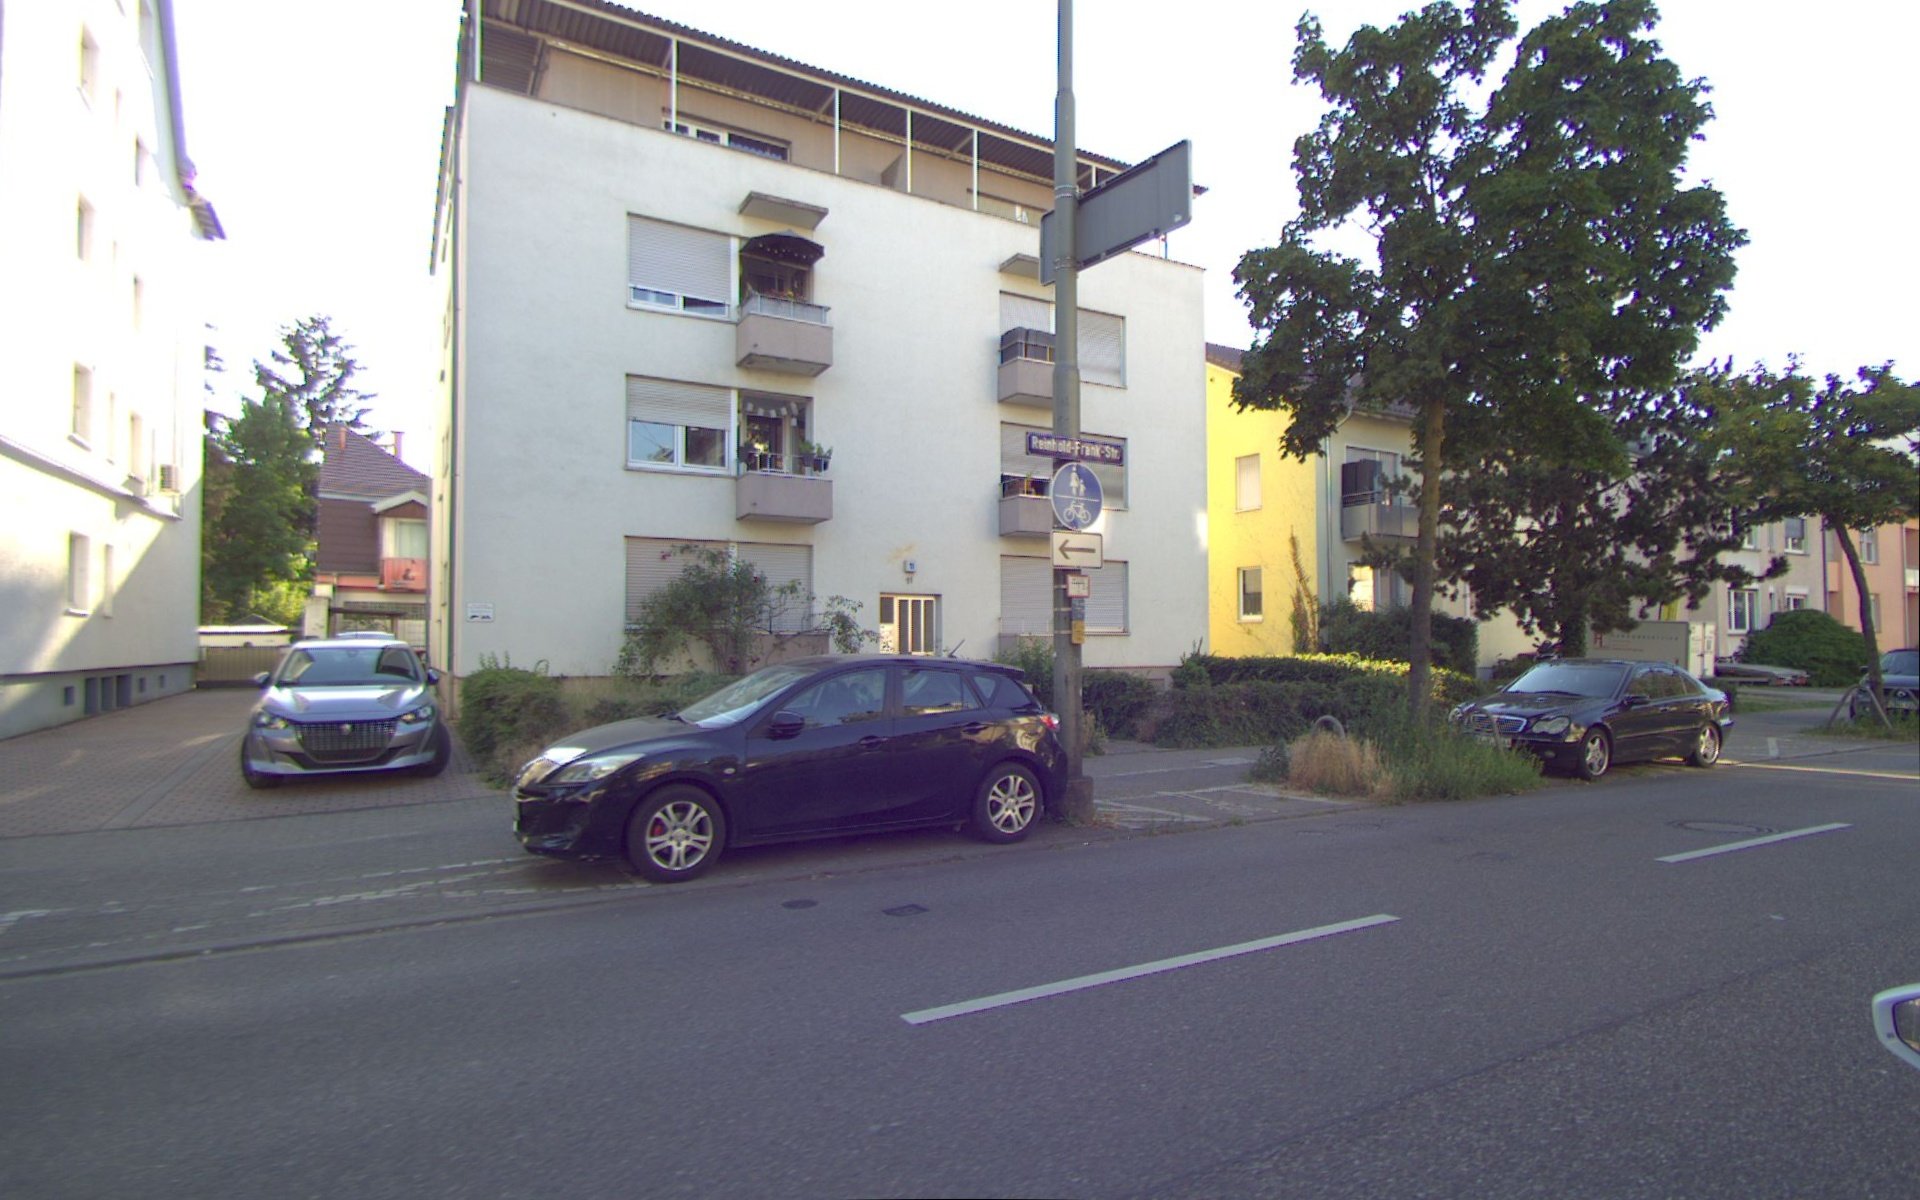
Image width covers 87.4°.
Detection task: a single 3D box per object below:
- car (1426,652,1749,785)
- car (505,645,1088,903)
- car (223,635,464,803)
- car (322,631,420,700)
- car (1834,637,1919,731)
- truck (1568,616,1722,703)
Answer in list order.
[{"bbox_3d":[8.323,1.440,13.244,4.372,1.438,1.747,1,-2,-30],"label":"car"},{"bbox_3d":[-1.188,1.127,7.867,4.197,1.517,1.709,1,-2,-30],"label":"car"},{"bbox_3d":[-7.019,1.168,11.458,1.979,1.498,3.964,1,-2,-33],"label":"car"},{"bbox_3d":[-14.136,1.506,24.301,1.784,1.498,3.972,1,-2,-27],"label":"car"},{"bbox_3d":[19.389,1.624,20.145,3.549,1.763,1.742,1,-2,-30],"label":"car"},{"bbox_3d":[17.724,1.514,26.081,1.528,2.121,2.900,1,-2,-30],"label":"truck"}]
